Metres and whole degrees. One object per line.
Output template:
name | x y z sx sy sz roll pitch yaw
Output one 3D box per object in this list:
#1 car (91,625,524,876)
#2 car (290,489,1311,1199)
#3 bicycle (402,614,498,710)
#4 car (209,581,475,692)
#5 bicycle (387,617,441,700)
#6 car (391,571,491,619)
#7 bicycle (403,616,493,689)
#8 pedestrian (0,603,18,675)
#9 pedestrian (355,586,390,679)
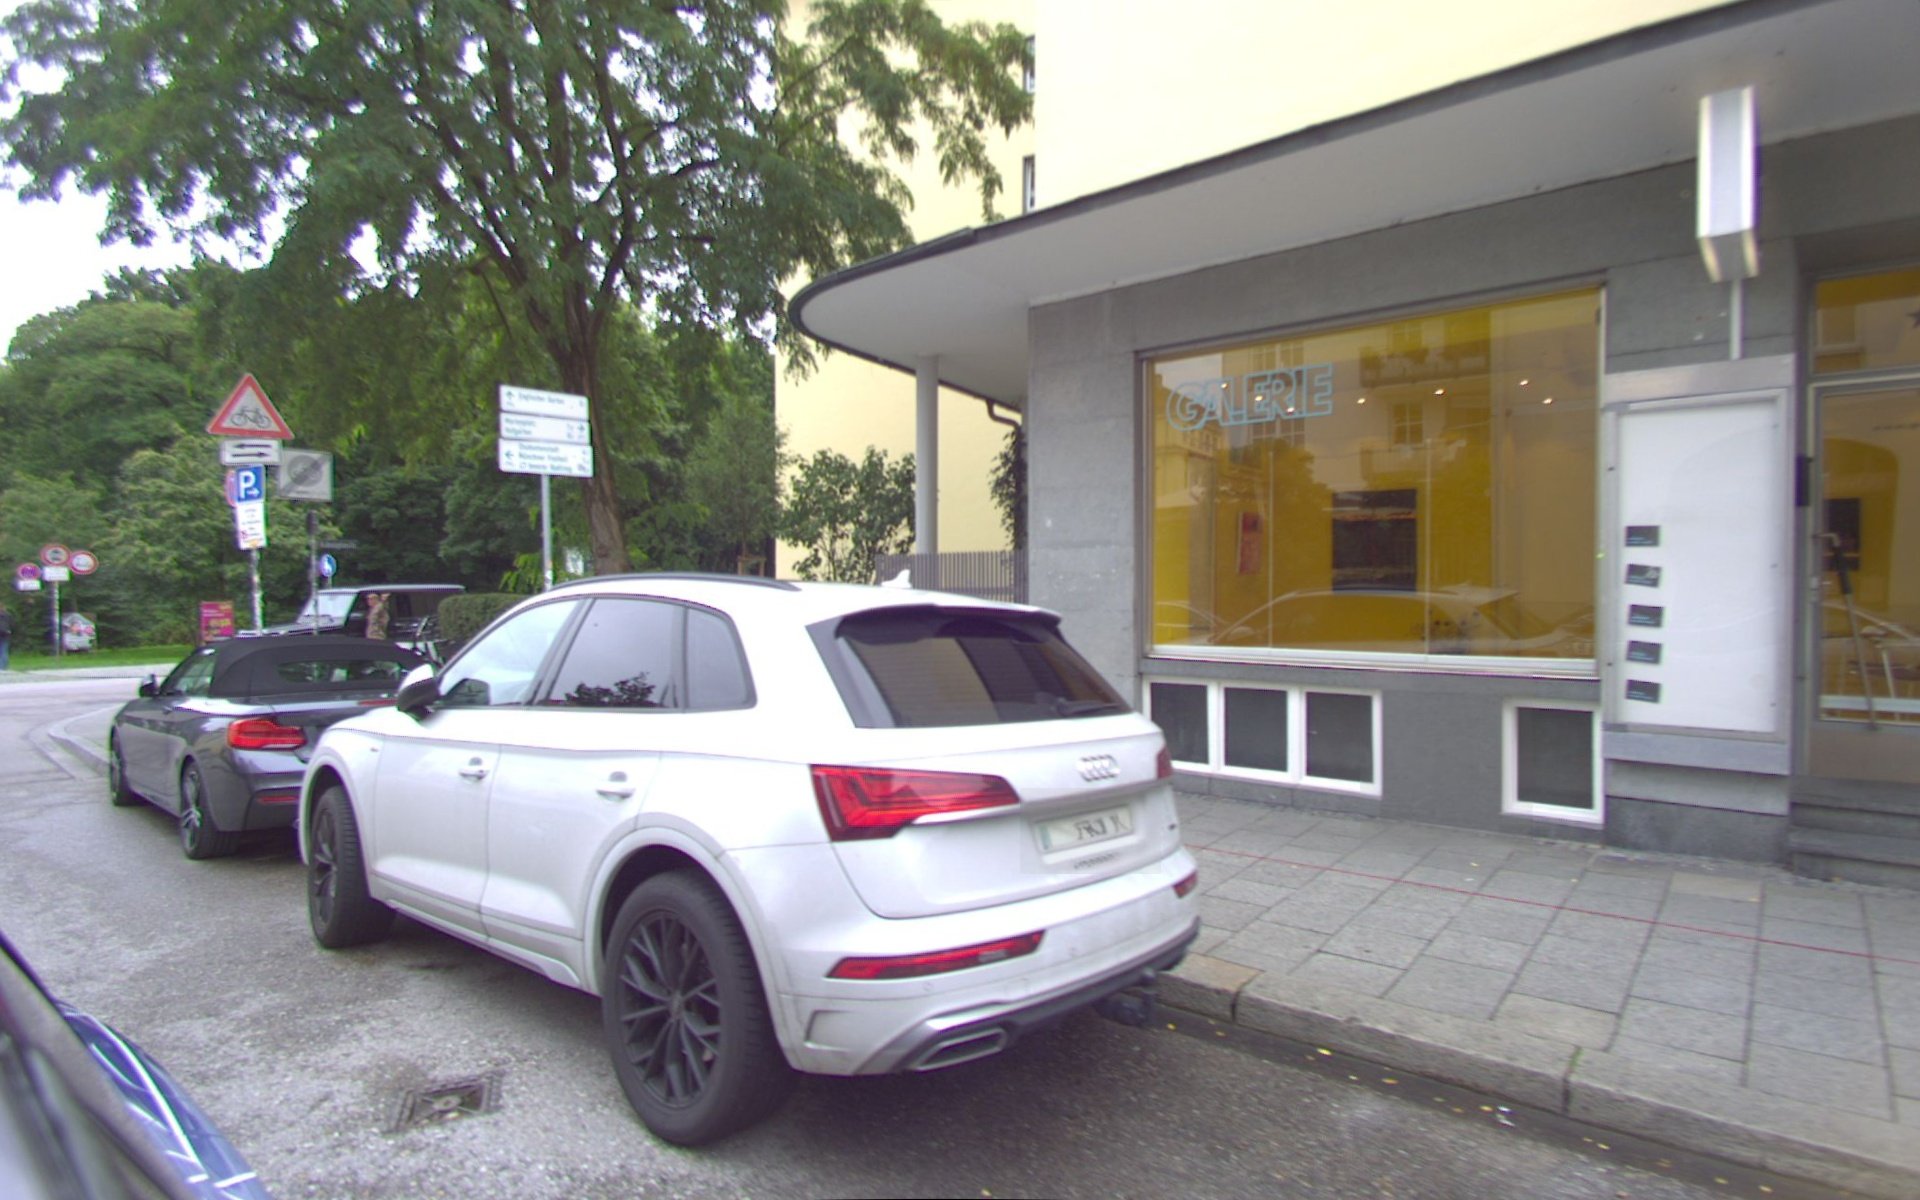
car | -5.181 0.917 7.814 4.095 1.421 1.727 -1 -2 41
car | -1.038 0.648 4.179 4.335 1.596 1.784 -2 -2 41
bicycle | -7.059 0.821 13.974 1.854 1.219 0.555 0 1 43
car | -12.611 0.635 20.984 1.925 2.016 4.382 1 1 26
bicycle | -8.484 0.867 15.783 0.573 1.134 2.305 -2 1 -25
car | -24.439 -0.269 47.807 3.900 2.120 1.911 -2 1 -19
bicycle | -9.038 0.897 17.950 0.575 1.165 1.952 -3 0 -1
pedestrian | -24.131 0.977 25.392 0.801 1.795 0.626 -3 -3 41
pedestrian | -11.778 0.643 20.276 0.552 1.812 0.642 -1 -2 -32
